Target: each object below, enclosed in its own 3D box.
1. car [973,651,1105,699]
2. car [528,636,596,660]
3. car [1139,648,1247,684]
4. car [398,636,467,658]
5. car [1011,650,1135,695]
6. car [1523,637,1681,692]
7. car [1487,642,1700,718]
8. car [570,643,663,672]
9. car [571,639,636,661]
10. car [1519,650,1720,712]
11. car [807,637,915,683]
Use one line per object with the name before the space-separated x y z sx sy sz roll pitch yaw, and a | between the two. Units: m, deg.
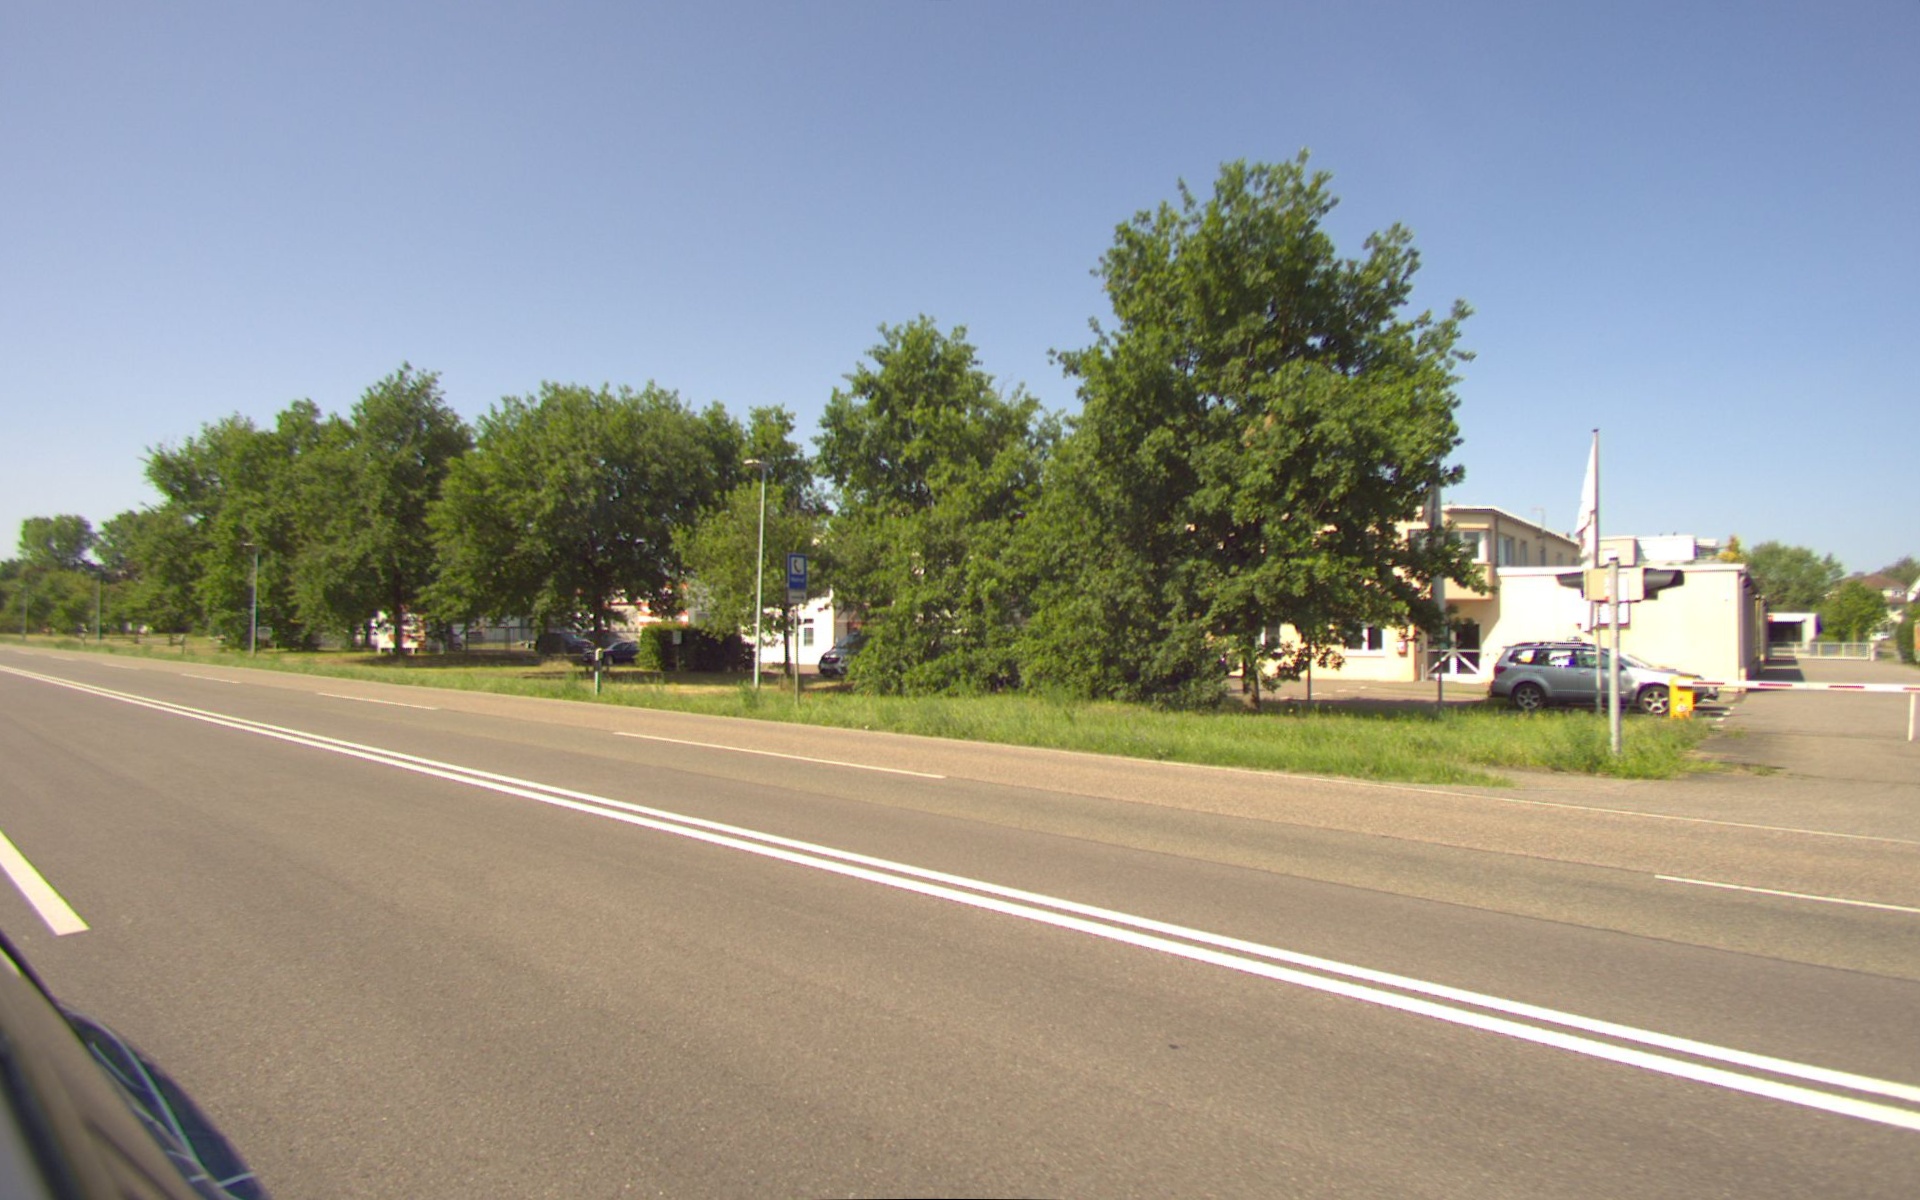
car | 2.468 2.353 32.174 3.998 1.360 1.655 -2 -3 41
car | -24.443 2.943 62.019 4.657 1.360 1.770 -1 -3 39
car | 9.519 2.680 41.476 3.998 1.360 1.655 -2 -3 41
car | -37.510 3.307 72.039 1.756 1.512 3.946 -2 -3 40
car | 3.808 2.430 34.518 3.998 1.360 1.655 -2 -3 41
car | 21.158 2.090 33.445 4.166 1.670 1.837 -1 -2 41
car | 15.407 1.871 24.712 4.188 1.664 1.909 -1 -2 40
car | -18.319 3.106 54.102 1.856 1.335 4.305 0 -5 40
car | -23.320 3.241 66.177 4.657 1.360 1.770 -1 -3 39
car | 17.088 2.039 26.308 4.188 1.404 1.909 -1 -2 40
car | -4.011 2.467 41.414 1.999 1.744 4.179 -1 -4 40
